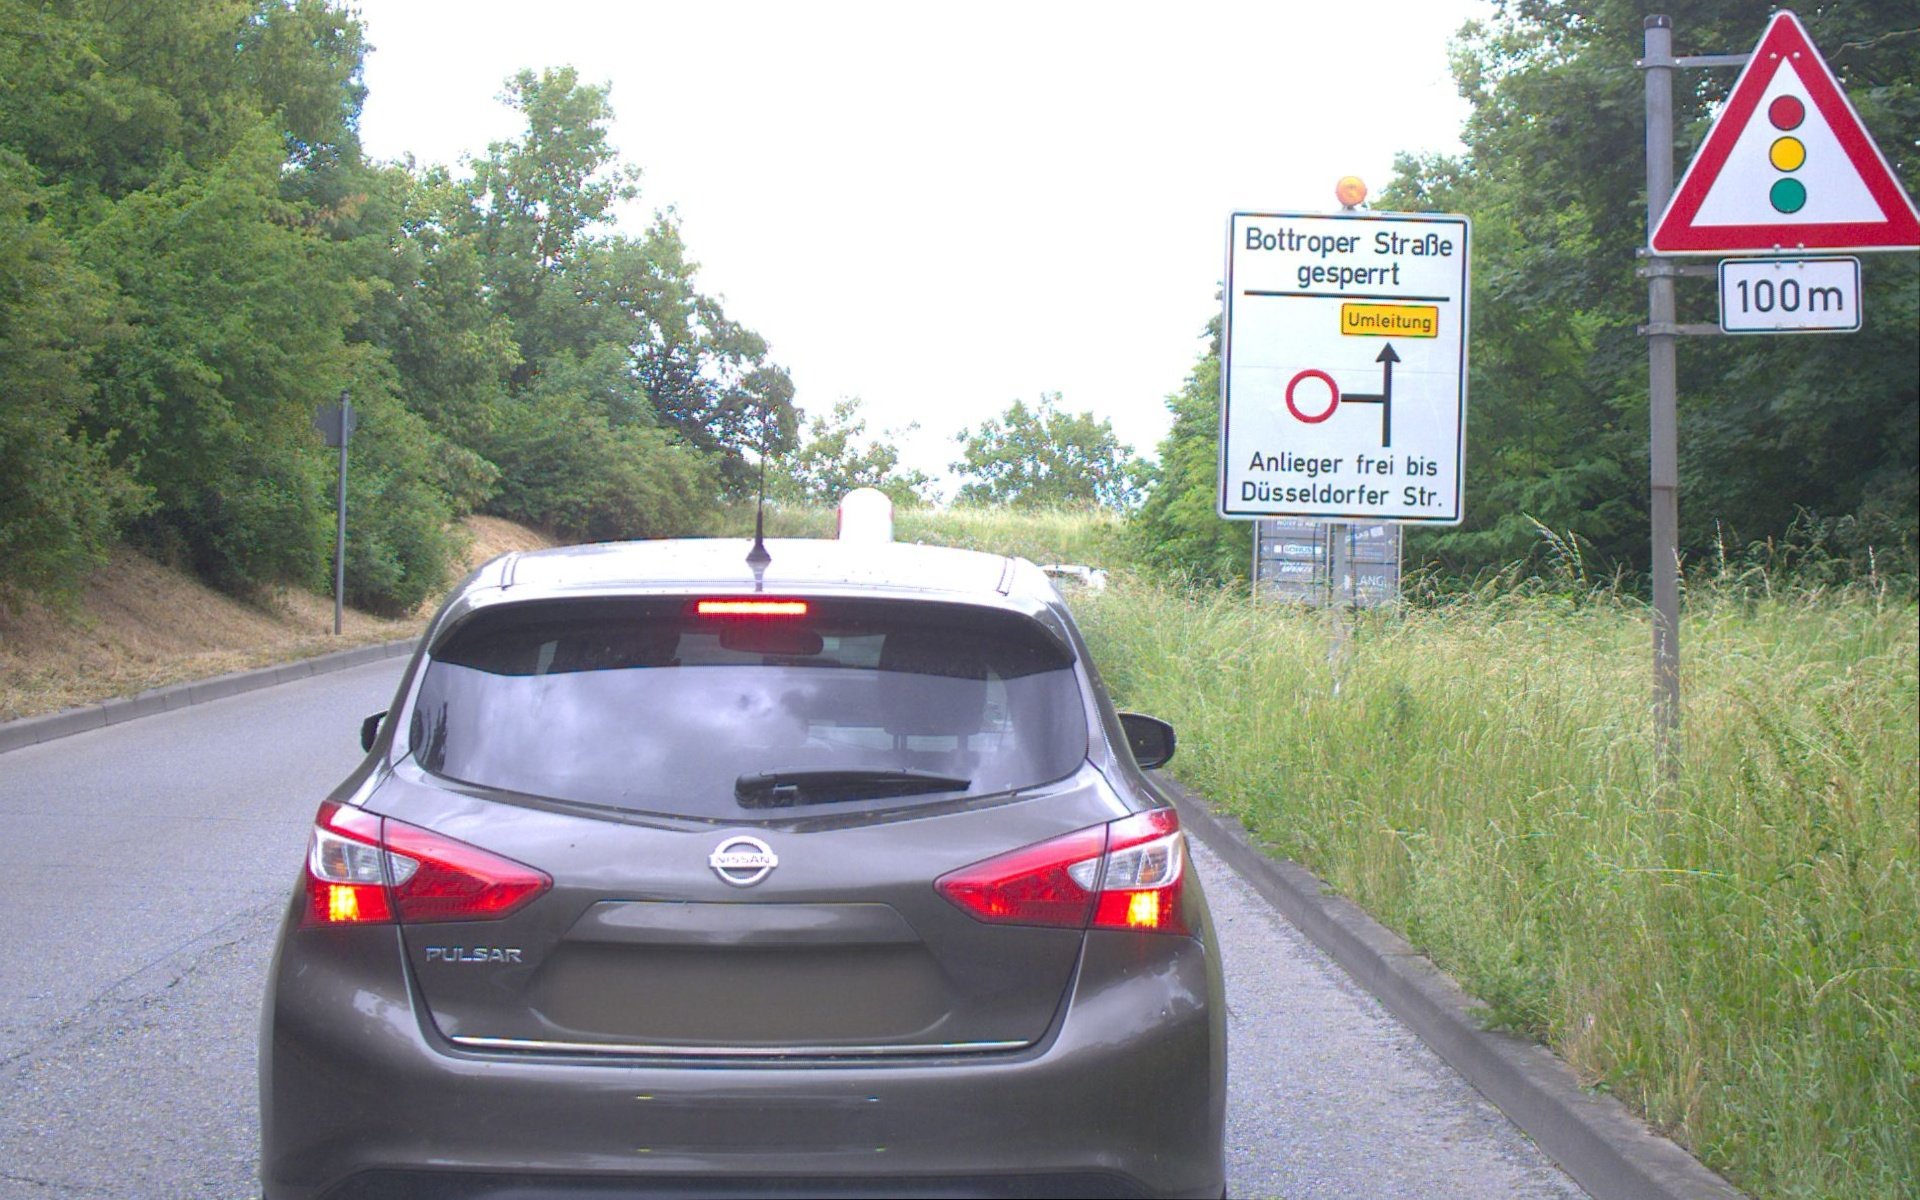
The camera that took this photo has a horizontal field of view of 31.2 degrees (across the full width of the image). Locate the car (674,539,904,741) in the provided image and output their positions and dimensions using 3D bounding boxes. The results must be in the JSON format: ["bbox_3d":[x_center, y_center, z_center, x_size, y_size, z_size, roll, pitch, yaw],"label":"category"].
[{"bbox_3d":[-1.351,0.281,28.411,1.736,1.551,3.544,0,1,0],"label":"car"}]

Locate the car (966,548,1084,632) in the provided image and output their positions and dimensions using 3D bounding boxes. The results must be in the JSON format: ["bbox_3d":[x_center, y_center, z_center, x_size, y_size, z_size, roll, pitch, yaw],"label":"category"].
[{"bbox_3d":[1.251,-0.213,64.469,1.736,1.521,3.640,0,1,9],"label":"car"}]

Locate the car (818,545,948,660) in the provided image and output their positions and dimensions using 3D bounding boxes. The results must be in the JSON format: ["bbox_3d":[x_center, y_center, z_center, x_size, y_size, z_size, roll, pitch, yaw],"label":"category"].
[{"bbox_3d":[-1.047,0.007,47.925,1.736,1.521,3.544,0,1,-1],"label":"car"}]

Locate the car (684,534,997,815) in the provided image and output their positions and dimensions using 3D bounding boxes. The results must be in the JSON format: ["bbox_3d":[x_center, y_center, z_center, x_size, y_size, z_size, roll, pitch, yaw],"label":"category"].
[{"bbox_3d":[-0.671,0.382,20.872,1.736,1.551,3.544,0,1,0],"label":"car"}]

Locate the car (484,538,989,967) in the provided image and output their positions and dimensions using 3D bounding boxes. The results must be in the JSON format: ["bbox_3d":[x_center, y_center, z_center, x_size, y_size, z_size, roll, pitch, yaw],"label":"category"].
[{"bbox_3d":[-0.820,0.523,14.311,1.830,1.551,3.625,0,1,0],"label":"car"}]

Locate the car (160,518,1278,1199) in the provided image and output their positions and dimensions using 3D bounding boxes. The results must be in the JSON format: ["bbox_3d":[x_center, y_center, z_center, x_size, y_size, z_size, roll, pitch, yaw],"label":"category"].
[{"bbox_3d":[-0.461,0.615,7.404,1.830,1.551,3.500,0,1,-2],"label":"car"}]

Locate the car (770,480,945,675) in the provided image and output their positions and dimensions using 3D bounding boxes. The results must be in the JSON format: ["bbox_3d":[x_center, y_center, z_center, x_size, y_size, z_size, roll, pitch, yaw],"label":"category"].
[{"bbox_3d":[-1.070,-0.254,35.887,1.736,1.928,3.544,0,1,-2],"label":"car"}]
